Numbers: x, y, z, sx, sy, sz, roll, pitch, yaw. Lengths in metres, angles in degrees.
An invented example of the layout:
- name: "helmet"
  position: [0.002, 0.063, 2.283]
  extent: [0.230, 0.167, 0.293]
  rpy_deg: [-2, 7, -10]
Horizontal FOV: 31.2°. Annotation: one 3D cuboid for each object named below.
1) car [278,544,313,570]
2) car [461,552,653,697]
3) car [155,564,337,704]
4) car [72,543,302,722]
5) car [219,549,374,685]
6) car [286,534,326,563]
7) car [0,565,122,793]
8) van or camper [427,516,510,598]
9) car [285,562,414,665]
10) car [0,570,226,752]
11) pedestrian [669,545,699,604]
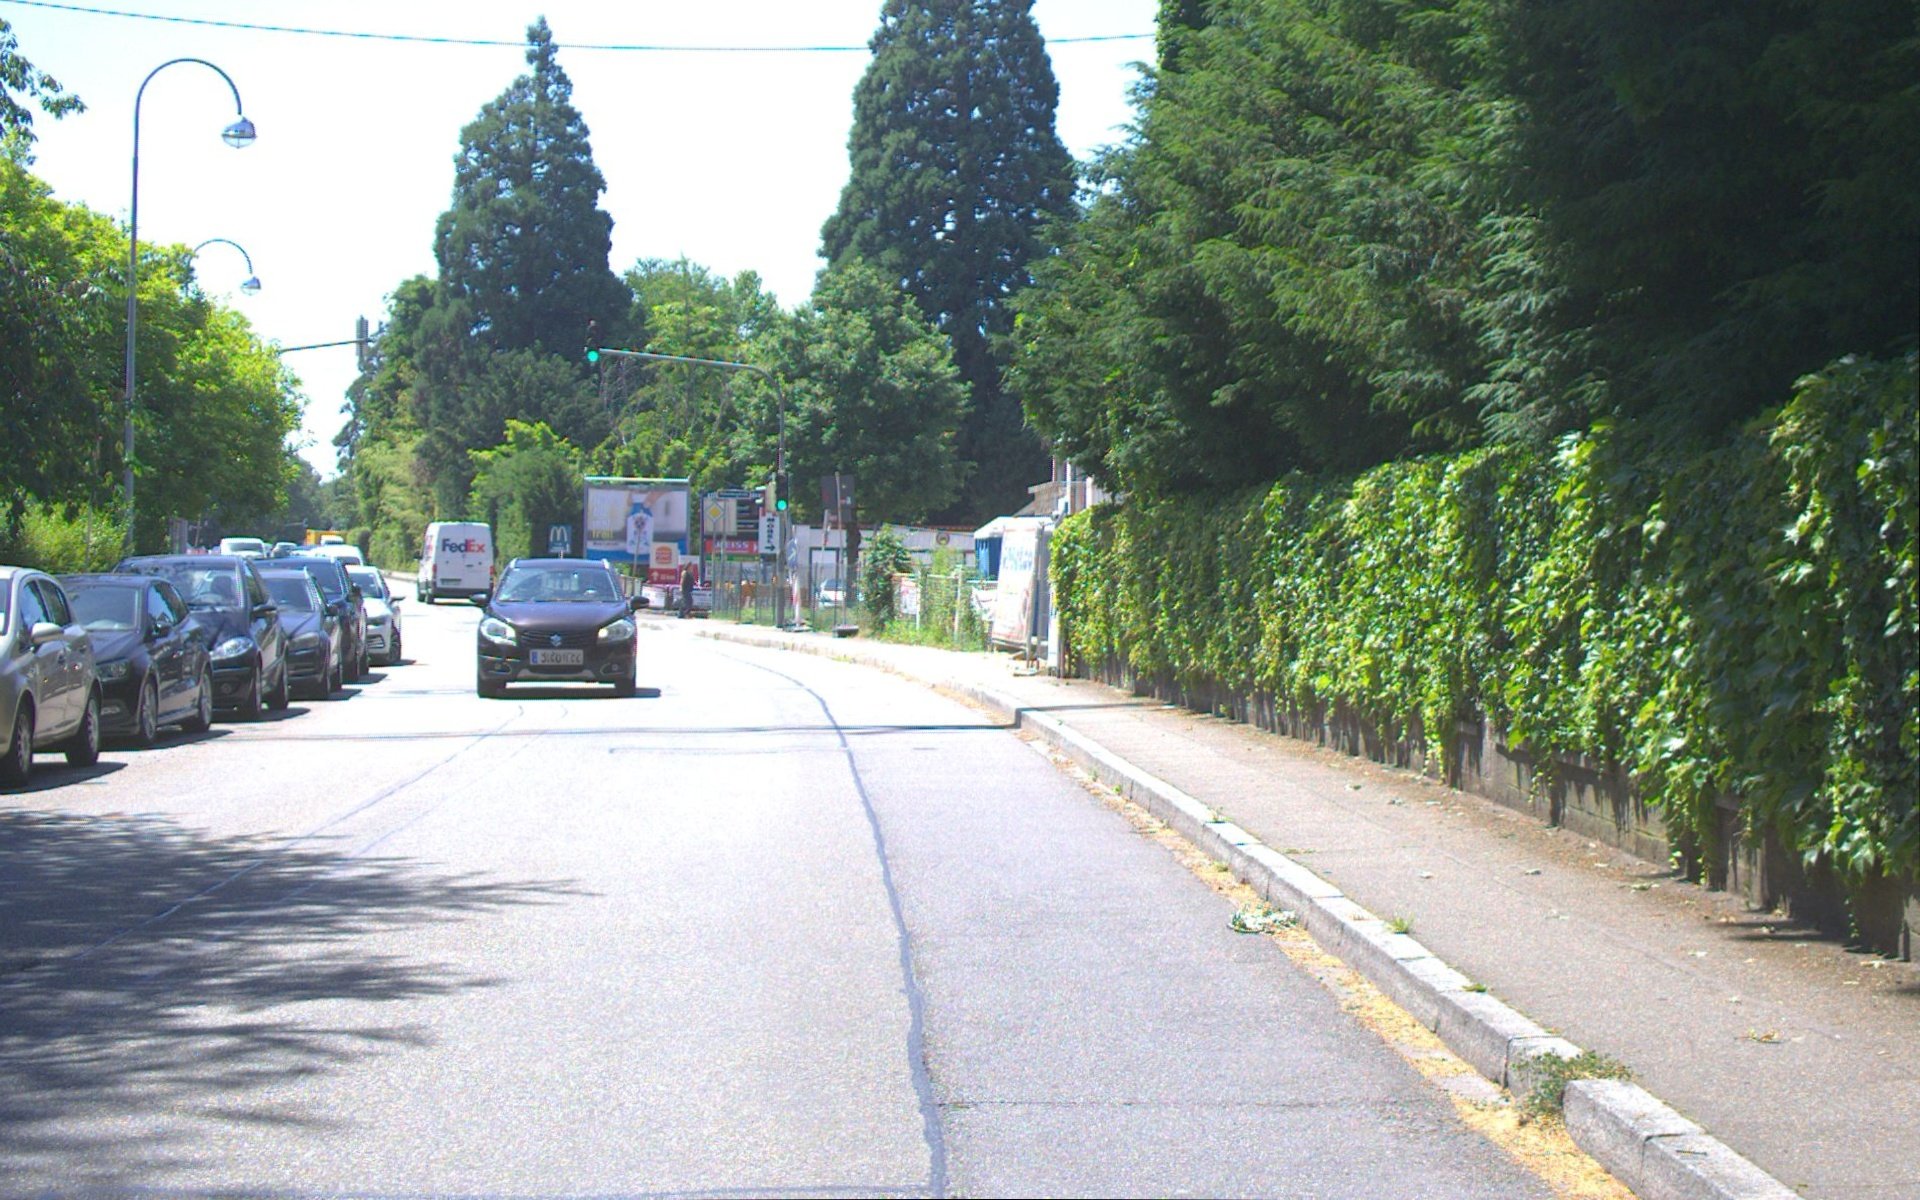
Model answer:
- name: "car"
  position: [-43.802, -2.821, 226.691]
  extent: [1.993, 1.656, 4.001]
  rpy_deg: [1, 1, -14]
- name: "car"
  position: [-4.553, 0.241, 39.356]
  extent: [1.899, 1.569, 4.141]
  rpy_deg: [0, 1, -3]
- name: "car"
  position: [-8.042, 0.341, 39.001]
  extent: [1.680, 1.471, 4.331]
  rpy_deg: [-1, 1, -7]
- name: "car"
  position: [-7.541, 0.281, 33.819]
  extent: [1.681, 1.633, 3.790]
  rpy_deg: [-1, 1, -5]
- name: "car"
  position: [-8.495, 0.182, 44.291]
  extent: [1.680, 1.631, 4.331]
  rpy_deg: [-1, 1, -7]
- name: "car"
  position: [-37.522, -2.950, 197.168]
  extent: [1.993, 1.656, 4.001]
  rpy_deg: [1, 1, -14]
- name: "car"
  position: [-7.048, 0.494, 23.547]
  extent: [1.796, 1.437, 3.785]
  rpy_deg: [-1, 1, -2]
- name: "van or camper"
  position: [-15.451, -1.349, 107.847]
  extent: [2.262, 2.519, 4.761]
  rpy_deg: [-1, 1, -12]
- name: "car"
  position: [-9.041, 0.163, 51.154]
  extent: [1.680, 1.436, 4.248]
  rpy_deg: [-1, 1, -7]
- name: "car"
  position: [-7.349, 0.467, 28.819]
  extent: [1.681, 1.396, 3.790]
  rpy_deg: [-1, 1, -2]
- name: "pedestrian"
  position: [-7.698, -0.714, 95.929]
  extent: [0.695, 1.594, 0.573]
  rpy_deg: [2, 0, -13]
